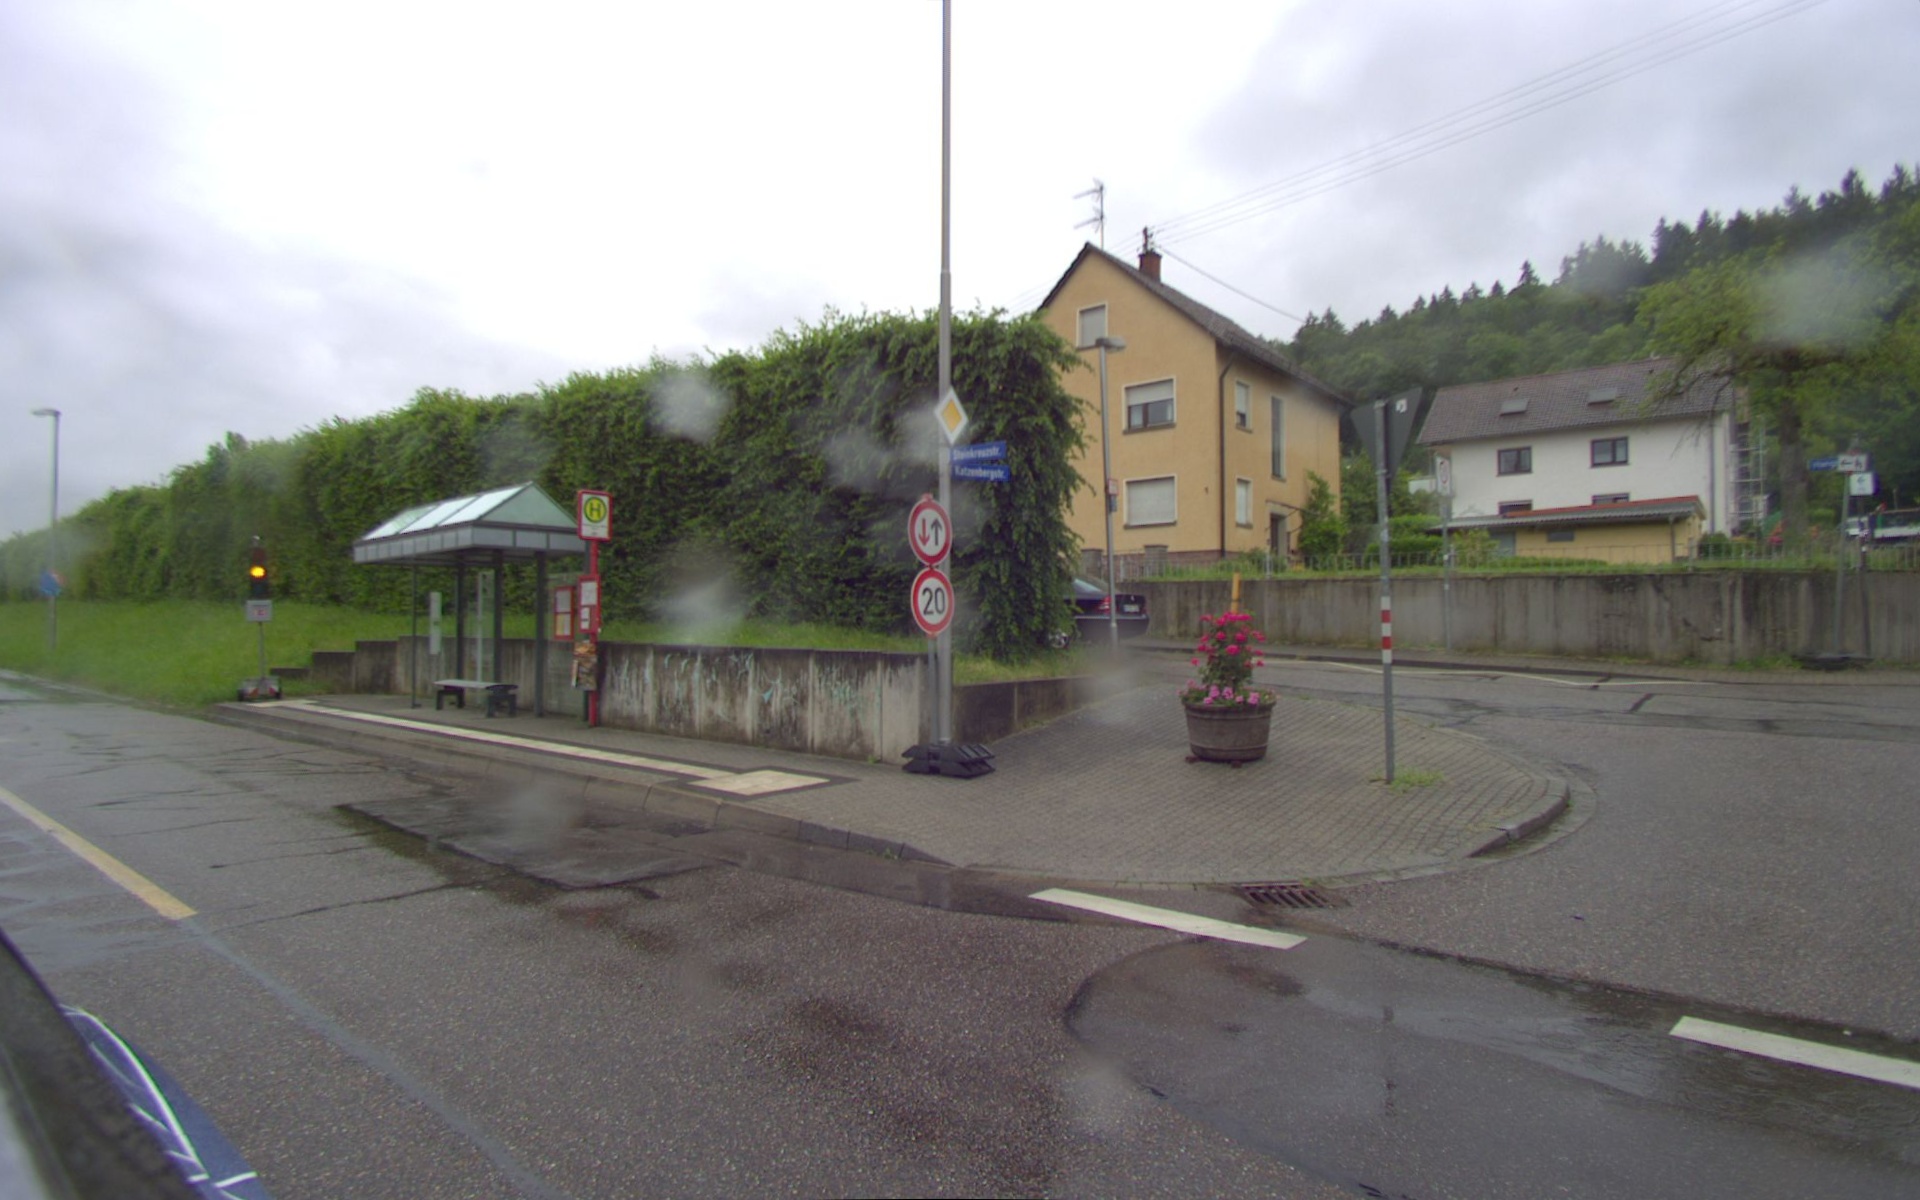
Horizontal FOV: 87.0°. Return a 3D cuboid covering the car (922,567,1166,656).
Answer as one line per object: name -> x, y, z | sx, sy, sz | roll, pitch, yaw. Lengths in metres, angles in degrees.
car -> 1.445, 0.145, 18.515 | 4.220, 1.399, 1.727 | 2, 1, 40

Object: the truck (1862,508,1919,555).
truck -> 46.786, -3.363, 50.565 | 2.298, 2.142, 6.000 | -1, 1, 40

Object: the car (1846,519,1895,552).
car -> 58.284, -4.091, 64.842 | 1.913, 2.028, 3.951 | 0, 2, 36
